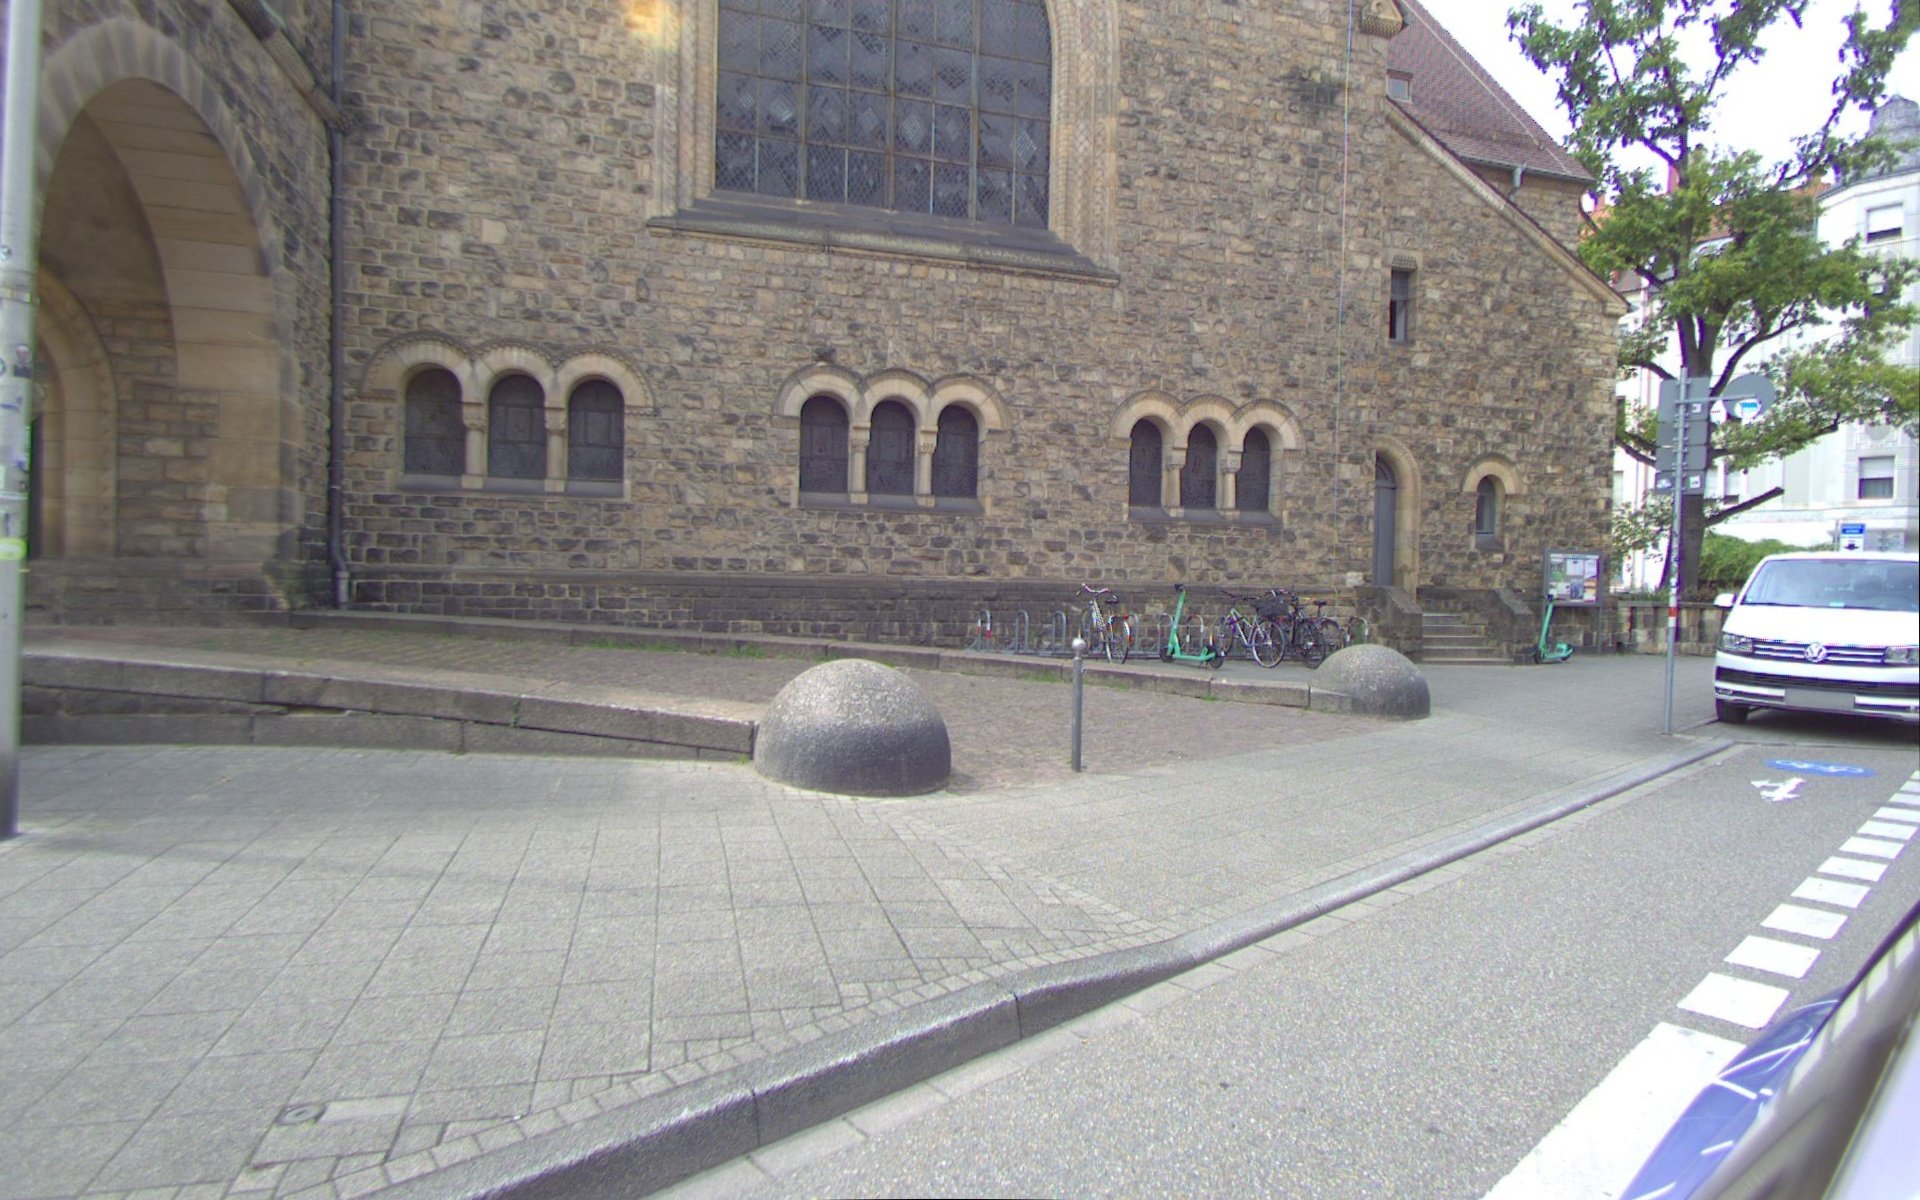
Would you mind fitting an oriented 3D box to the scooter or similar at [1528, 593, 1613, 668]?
[{"bbox_3d":[10.430,0.505,17.285,1.413,1.222,0.547,1,1,-27],"label":"scooter or similar"}]

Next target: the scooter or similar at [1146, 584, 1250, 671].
[{"bbox_3d":[3.458,0.368,14.862,0.534,1.154,1.786,1,1,-21],"label":"scooter or similar"}]

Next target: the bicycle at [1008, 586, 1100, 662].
[{"bbox_3d":[1.300,0.318,14.409,0.534,0.969,1.786,1,1,-21],"label":"bicycle"}]

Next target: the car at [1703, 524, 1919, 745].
[{"bbox_3d":[10.398,0.285,11.578,5.035,2.054,2.018,0,3,-42],"label":"car"}]

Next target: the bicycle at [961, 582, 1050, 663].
[{"bbox_3d":[0.601,0.285,14.194,0.534,0.969,1.787,1,3,-21],"label":"bicycle"}]

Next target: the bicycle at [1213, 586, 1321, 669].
[{"bbox_3d":[4.579,0.386,15.211,0.534,1.125,1.786,1,1,-21],"label":"bicycle"}]

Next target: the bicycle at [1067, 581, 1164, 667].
[{"bbox_3d":[2.213,0.312,14.622,0.534,1.125,1.786,1,1,-21],"label":"bicycle"}]

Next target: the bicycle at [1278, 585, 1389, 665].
[{"bbox_3d":[5.739,0.360,15.655,0.534,1.125,1.786,1,1,-21],"label":"bicycle"}]

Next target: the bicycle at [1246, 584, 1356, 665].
[{"bbox_3d":[5.152,0.337,15.409,0.534,1.125,1.779,1,1,-21],"label":"bicycle"}]

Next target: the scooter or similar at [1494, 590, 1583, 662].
[{"bbox_3d":[10.258,0.464,17.947,1.450,1.222,0.547,1,1,-21],"label":"scooter or similar"}]
